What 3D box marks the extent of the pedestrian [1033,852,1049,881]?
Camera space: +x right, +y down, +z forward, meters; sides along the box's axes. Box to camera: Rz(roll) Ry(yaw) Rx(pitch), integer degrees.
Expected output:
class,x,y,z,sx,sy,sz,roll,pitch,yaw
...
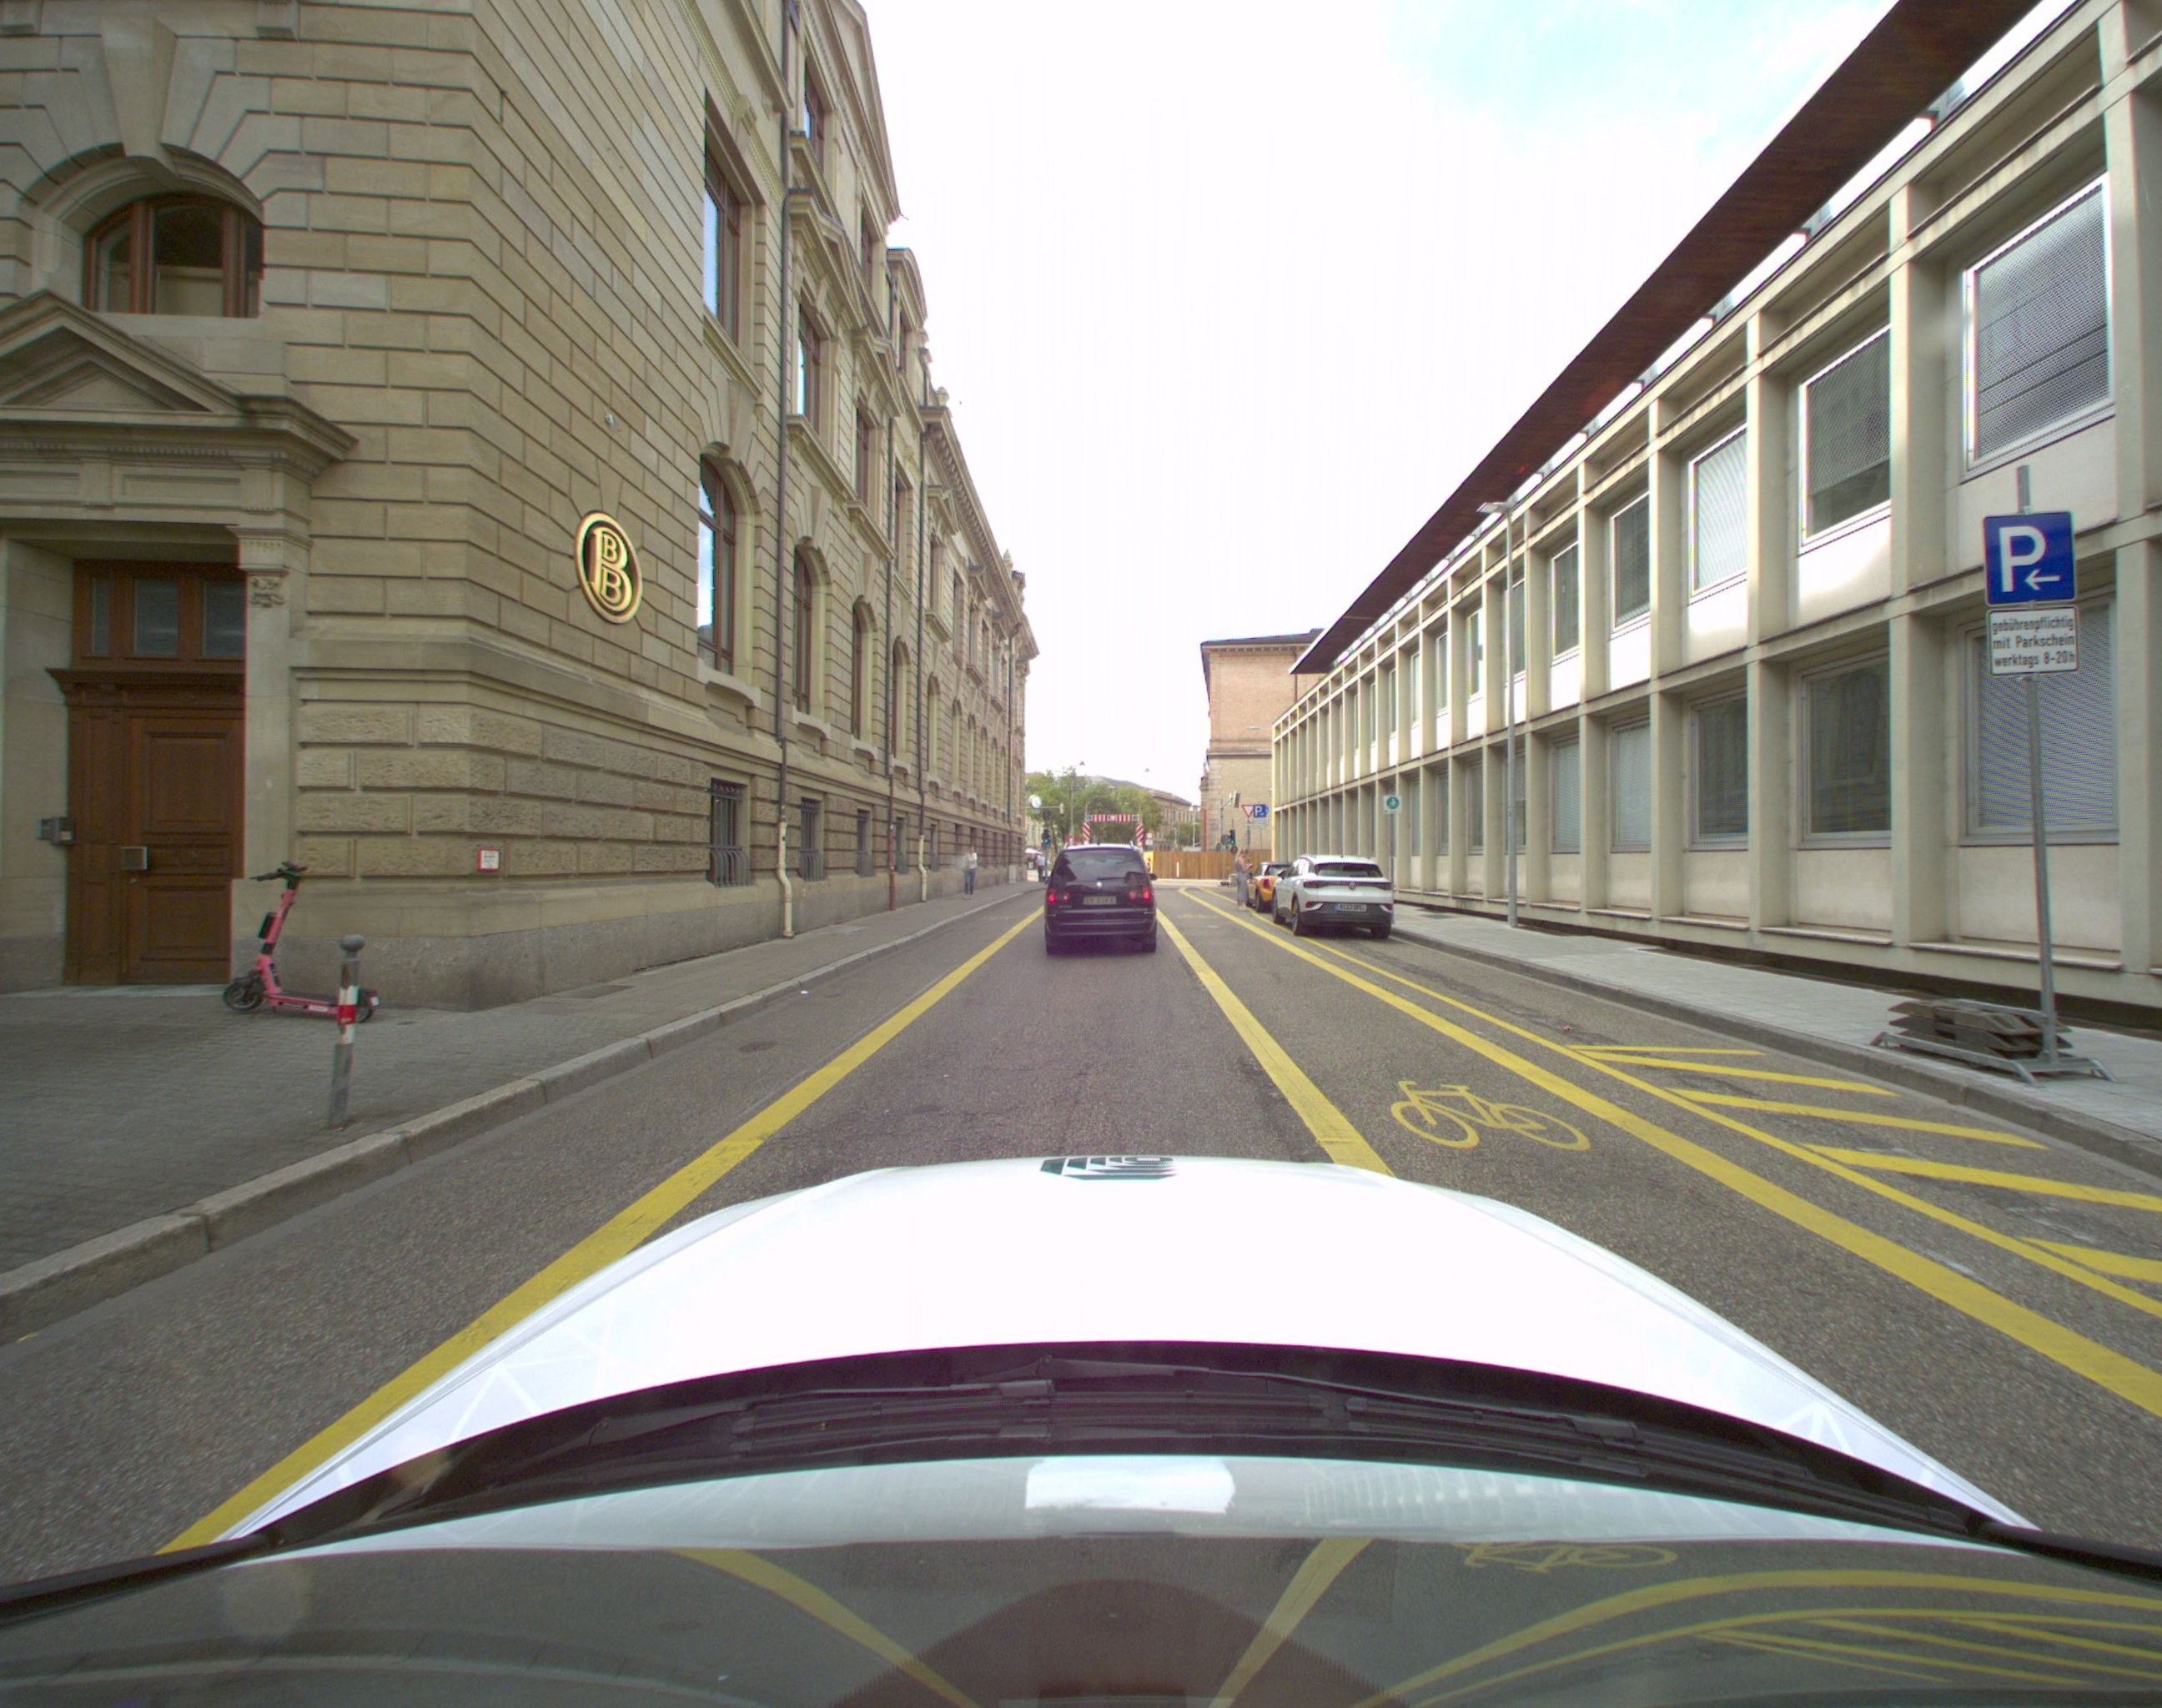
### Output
class,x,y,z,sx,sy,sz,roll,pitch,yaw
pedestrian,-2.620,0.824,53.554,0.793,1.819,1.042,2,-1,-16

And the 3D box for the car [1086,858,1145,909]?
class,x,y,z,sx,sy,sz,roll,pitch,yaw
car,1.141,0.860,25.225,1.670,1.469,4.108,0,-1,4

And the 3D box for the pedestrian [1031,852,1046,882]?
class,x,y,z,sx,sy,sz,roll,pitch,yaw
pedestrian,-2.604,0.824,50.430,0.789,1.819,1.048,2,-1,2

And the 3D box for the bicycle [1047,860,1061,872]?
class,x,y,z,sx,sy,sz,roll,pitch,yaw
bicycle,-2.432,1.091,73.468,0.737,1.009,2.057,0,-1,-17

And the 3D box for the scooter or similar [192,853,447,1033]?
class,x,y,z,sx,sy,sz,roll,pitch,yaw
scooter or similar,-6.094,0.682,6.566,1.441,1.310,0.587,3,0,0

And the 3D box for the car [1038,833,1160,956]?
class,x,y,z,sx,sy,sz,roll,pitch,yaw
car,0.432,0.631,14.136,1.781,1.790,4.108,-1,-1,5

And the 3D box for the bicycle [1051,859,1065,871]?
class,x,y,z,sx,sy,sz,roll,pitch,yaw
bicycle,-1.946,0.972,69.797,0.736,1.009,2.058,0,-1,-15

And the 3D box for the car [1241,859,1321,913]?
class,x,y,z,sx,sy,sz,roll,pitch,yaw
car,5.811,0.889,24.050,1.672,1.435,3.891,1,-1,5

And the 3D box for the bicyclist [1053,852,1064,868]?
class,x,y,z,sx,sy,sz,roll,pitch,yaw
bicyclist,-1.956,0.518,69.840,0.736,1.377,0.824,0,-1,-15

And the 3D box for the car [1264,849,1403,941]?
class,x,y,z,sx,sy,sz,roll,pitch,yaw
car,5.205,0.784,17.423,1.851,1.605,4.517,3,0,5

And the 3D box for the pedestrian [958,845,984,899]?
class,x,y,z,sx,sy,sz,roll,pitch,yaw
pedestrian,-3.786,0.605,28.116,0.661,1.819,1.048,2,-1,2

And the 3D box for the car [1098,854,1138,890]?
class,x,y,z,sx,sy,sz,roll,pitch,yaw
car,1.718,0.835,38.329,1.766,1.586,4.001,0,-1,2

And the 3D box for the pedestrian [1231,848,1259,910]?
class,x,y,z,sx,sy,sz,roll,pitch,yaw
pedestrian,4.733,0.715,23.504,0.695,1.764,0.706,0,-1,4
